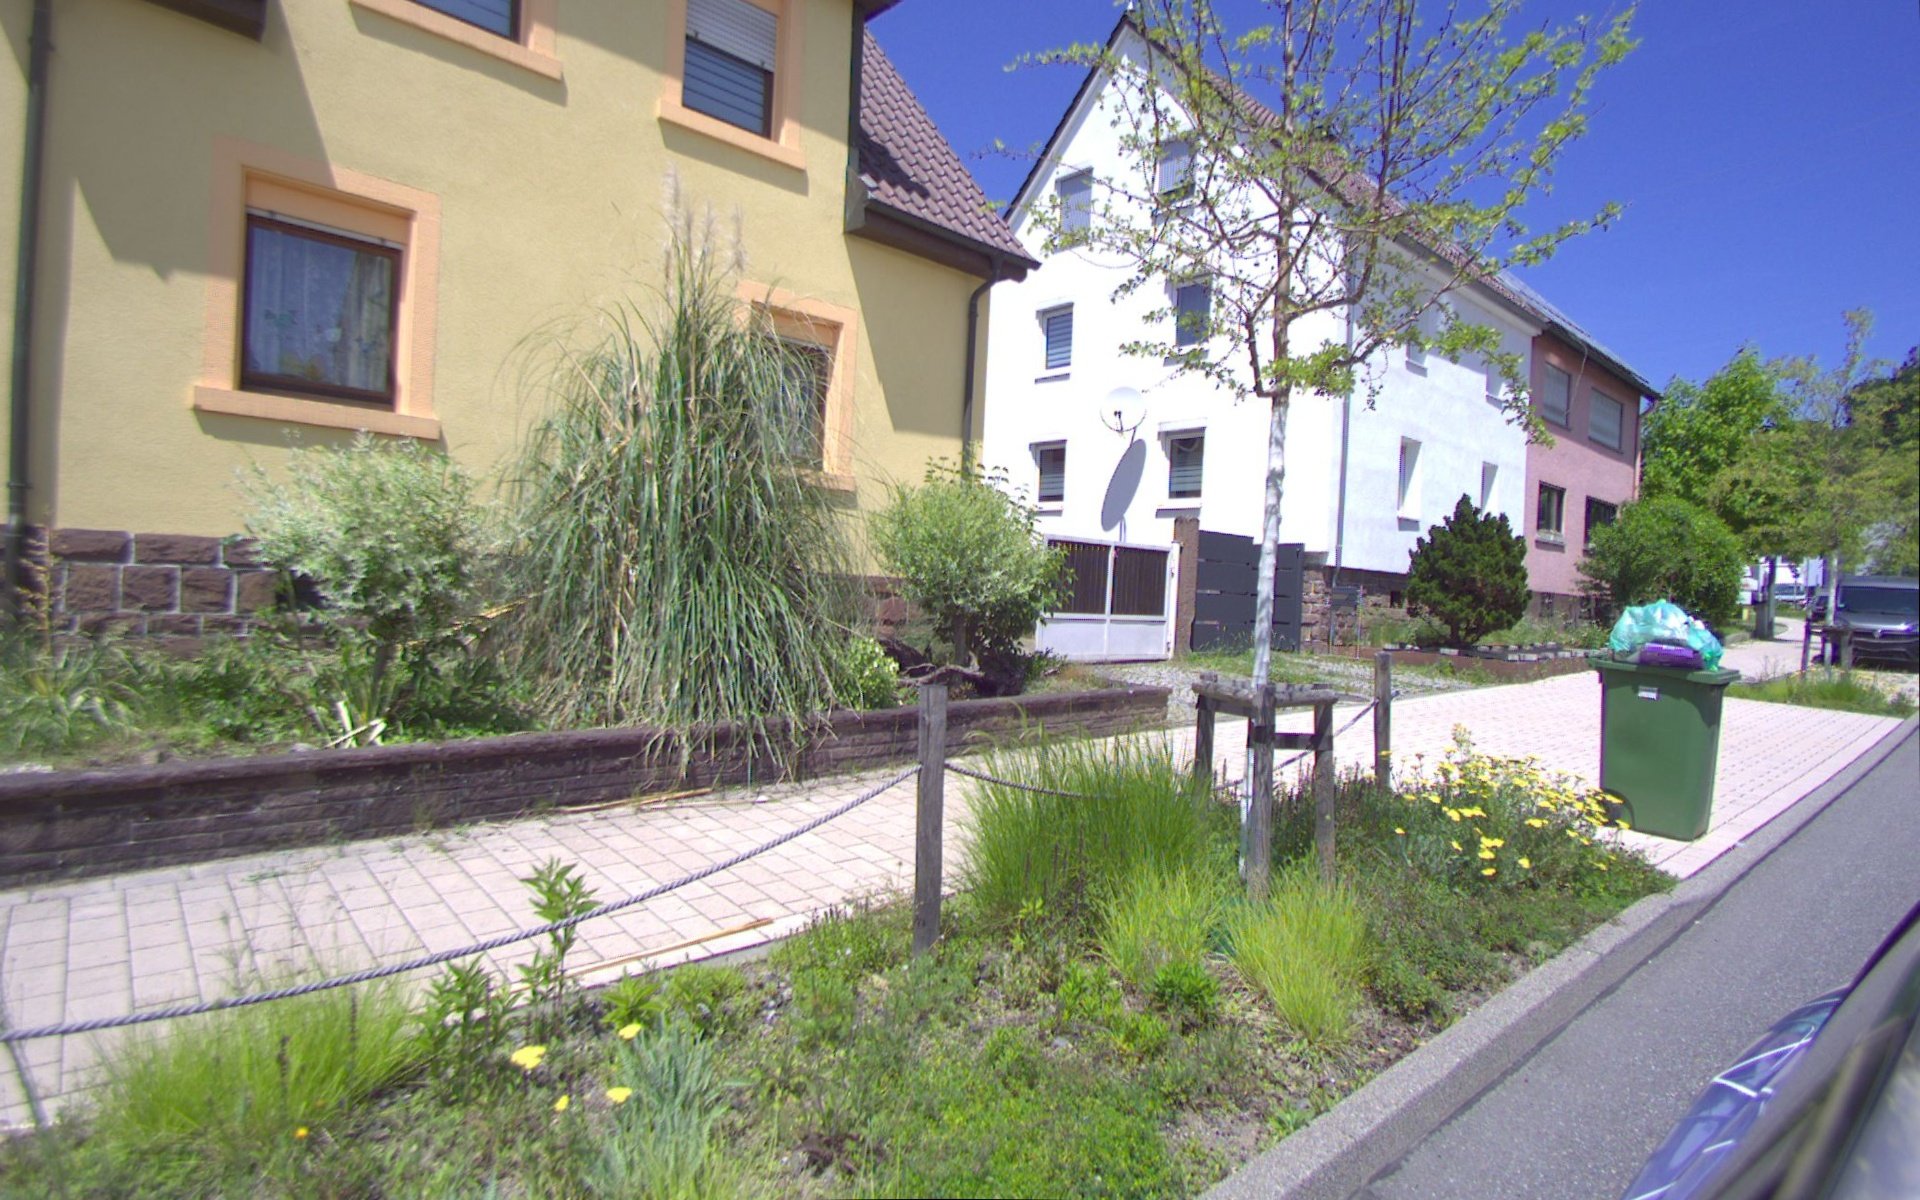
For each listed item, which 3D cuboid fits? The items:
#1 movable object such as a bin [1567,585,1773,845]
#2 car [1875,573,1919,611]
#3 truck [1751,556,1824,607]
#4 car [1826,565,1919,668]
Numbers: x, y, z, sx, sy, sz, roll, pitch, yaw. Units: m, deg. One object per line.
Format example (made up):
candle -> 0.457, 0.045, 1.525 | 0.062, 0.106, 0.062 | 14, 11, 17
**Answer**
movable object such as a bin -> 4.418, 0.645, 6.299 | 0.910, 1.412, 0.793 | 0, 5, -44
car -> 49.158, -0.404, 52.411 | 1.957, 1.856, 4.410 | 3, 2, 34
truck -> 59.306, -1.311, 72.705 | 2.785, 3.456, 8.032 | 1, 1, 30
car -> 19.174, 0.289, 20.646 | 4.594, 1.865, 1.857 | 0, 4, -45
